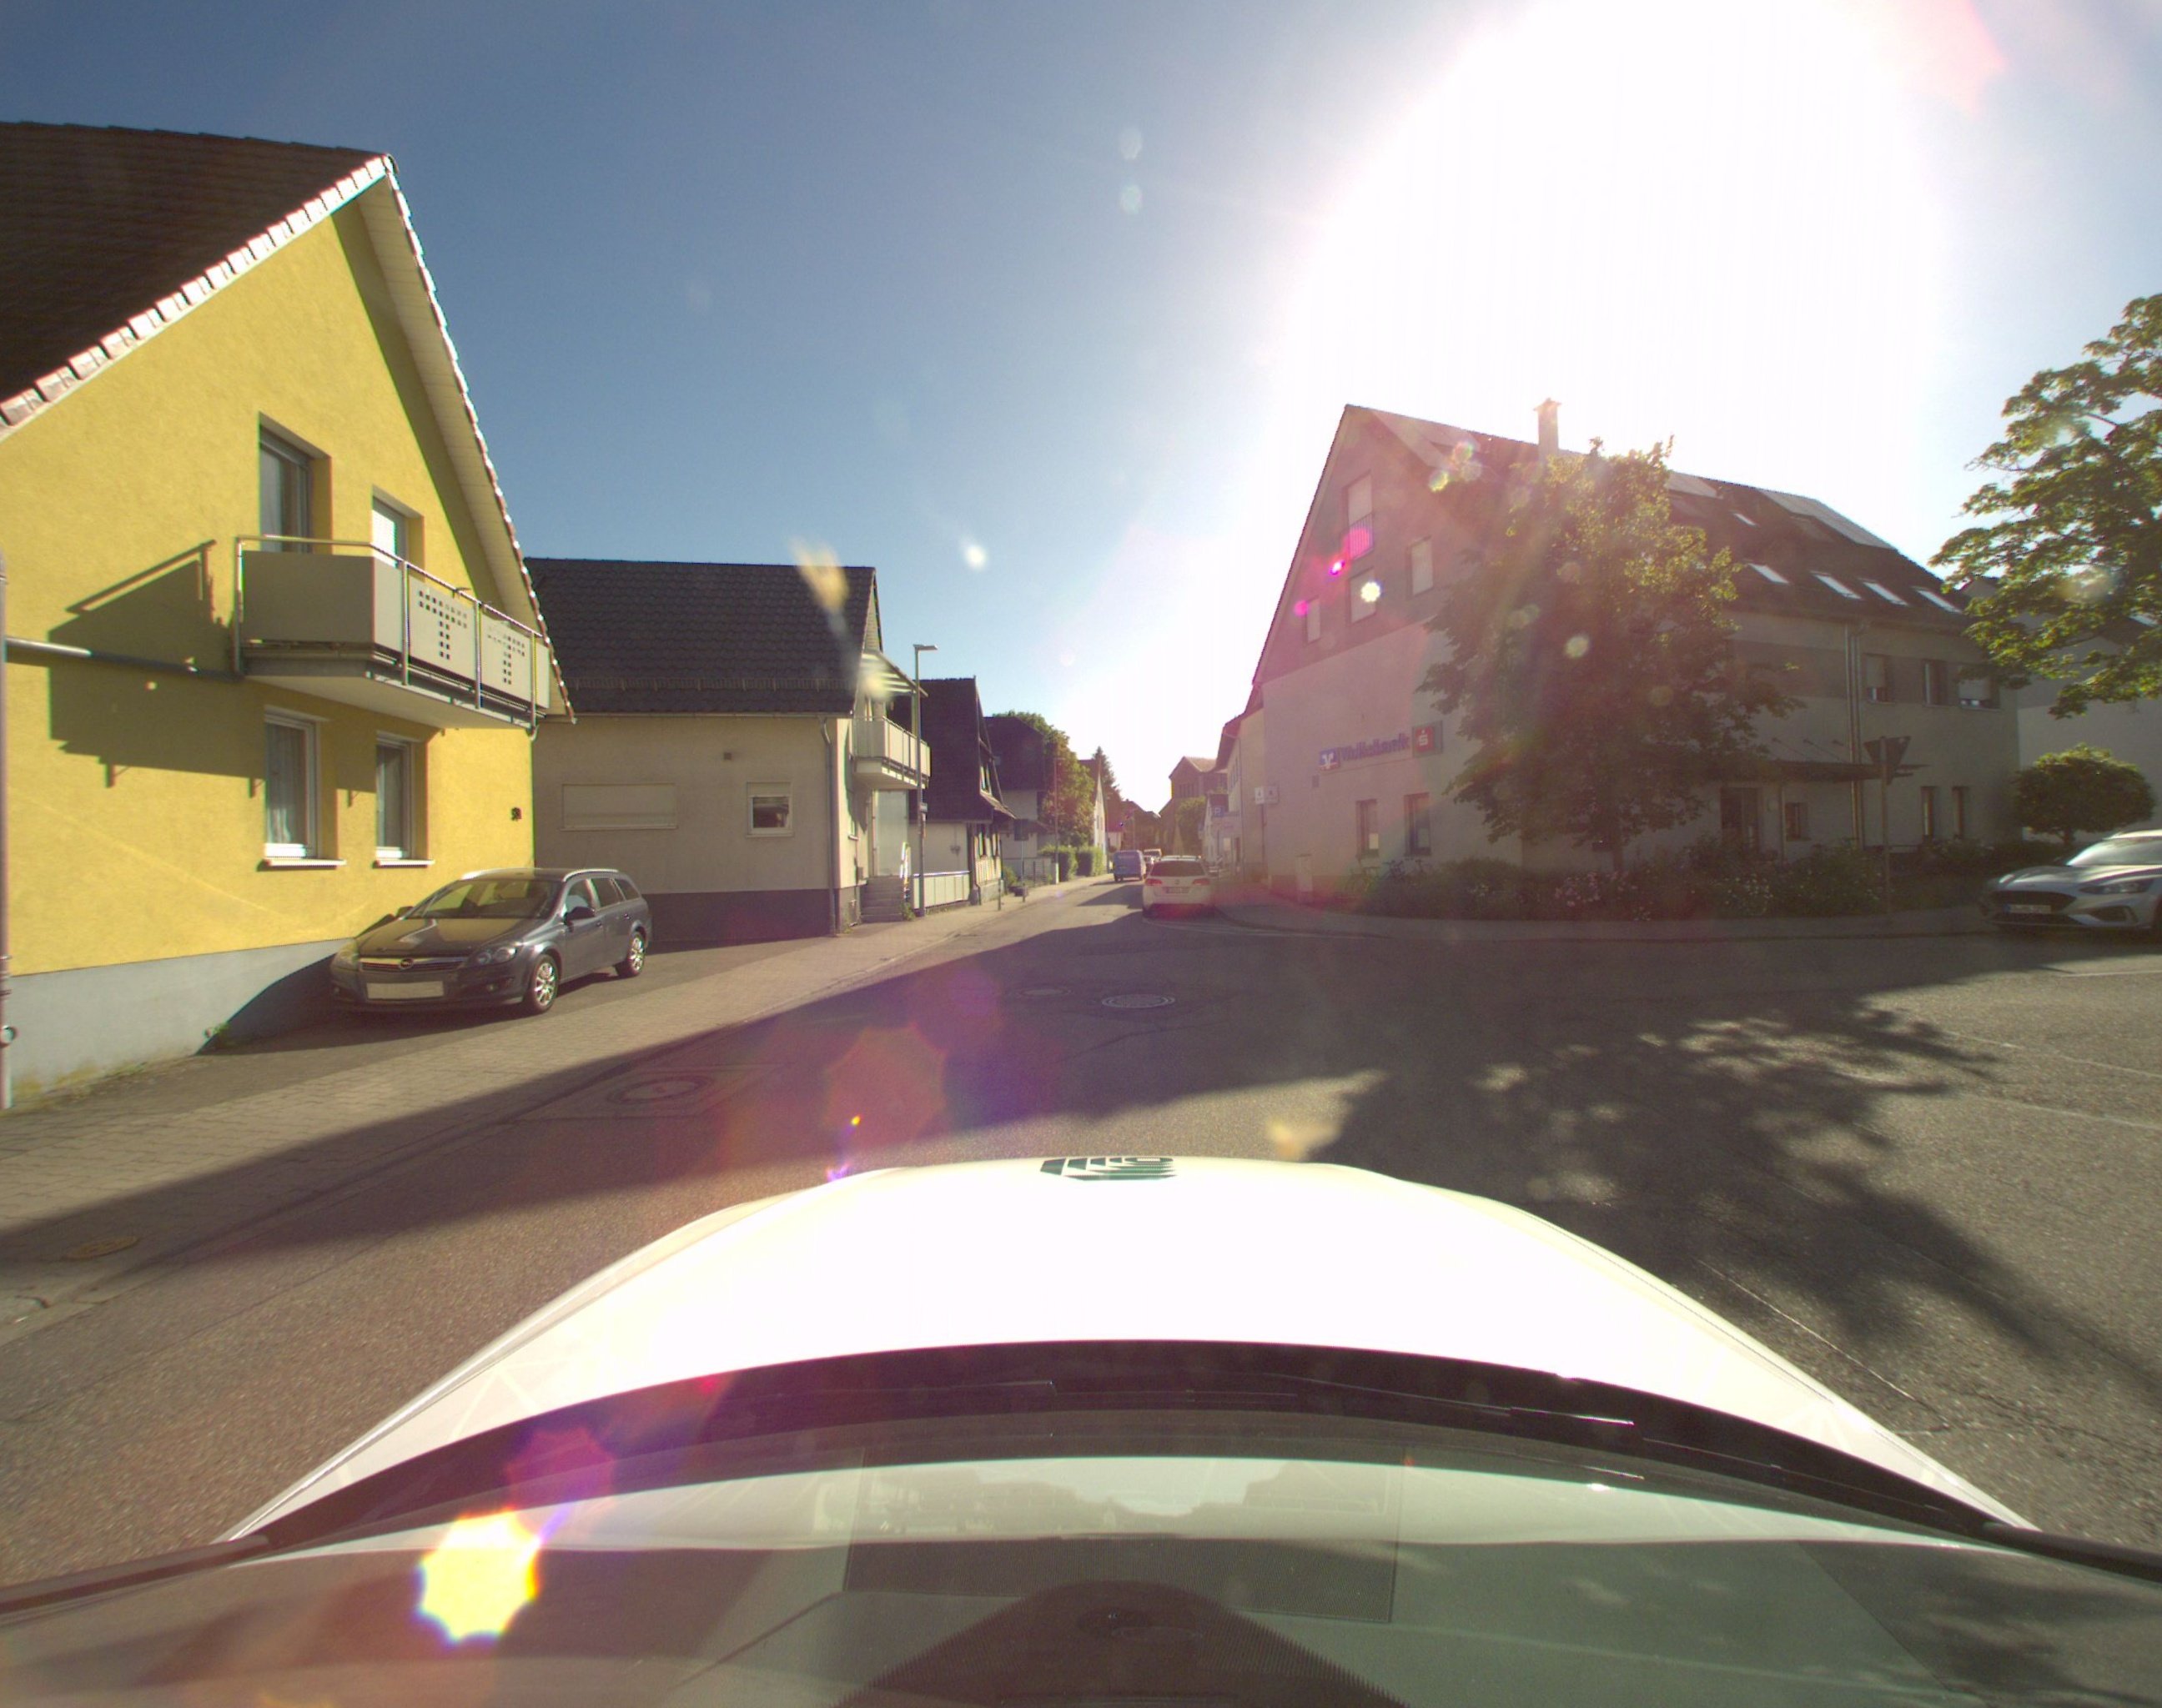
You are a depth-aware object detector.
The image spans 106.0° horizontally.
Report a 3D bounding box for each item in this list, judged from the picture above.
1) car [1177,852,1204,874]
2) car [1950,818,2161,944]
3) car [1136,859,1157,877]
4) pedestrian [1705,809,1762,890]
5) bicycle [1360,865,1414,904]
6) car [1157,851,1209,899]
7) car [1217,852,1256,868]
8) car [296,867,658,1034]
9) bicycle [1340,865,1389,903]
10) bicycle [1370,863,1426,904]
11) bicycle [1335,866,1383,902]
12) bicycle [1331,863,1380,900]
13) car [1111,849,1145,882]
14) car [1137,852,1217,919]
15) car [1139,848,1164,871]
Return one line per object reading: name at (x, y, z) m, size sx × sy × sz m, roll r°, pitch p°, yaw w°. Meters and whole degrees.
car at (7.926, 0.651, 59.039) m, size 1.802 × 1.475 × 4.669 m, roll -1°, pitch 0°, yaw 7°
car at (14.712, 0.258, 10.965) m, size 4.282 × 1.494 × 1.812 m, roll -2°, pitch 0°, yaw -4°
car at (6.457, 1.397, 79.952) m, size 1.705 × 1.598 × 3.934 m, roll -3°, pitch 0°, yaw 8°
pedestrian at (16.755, -0.120, 20.917) m, size 0.772 × 2.013 × 0.764 m, roll -2°, pitch -1°, yaw -10°
bicycle at (7.475, 0.743, 19.915) m, size 1.158 × 0.920 × 0.313 m, roll -2°, pitch -1°, yaw 3°
car at (3.399, 0.663, 27.570) m, size 1.602 × 1.521 × 3.977 m, roll 0°, pitch 0°, yaw 5°
car at (16.719, 0.672, 87.764) m, size 3.882 × 1.492 × 1.855 m, roll -3°, pitch -1°, yaw 17°
car at (-6.576, 0.907, 9.533) m, size 1.688 × 1.445 × 4.162 m, roll -1°, pitch 0°, yaw -10°
bicycle at (7.337, 0.776, 21.096) m, size 1.154 × 0.920 × 0.314 m, roll -2°, pitch -1°, yaw 13°
bicycle at (7.516, 0.707, 19.325) m, size 1.158 × 0.920 × 0.313 m, roll -2°, pitch -1°, yaw 3°
bicycle at (7.336, 0.797, 21.527) m, size 1.154 × 0.920 × 0.314 m, roll -2°, pitch -1°, yaw 13°
bicycle at (7.458, 0.750, 22.165) m, size 1.212 × 0.975 × 0.322 m, roll -2°, pitch -1°, yaw 19°
car at (3.064, 0.690, 52.325) m, size 1.893 × 1.917 × 5.077 m, roll -3°, pitch 0°, yaw 5°
car at (2.599, 0.749, 21.395) m, size 1.835 × 1.514 × 4.517 m, roll -2°, pitch 0°, yaw 9°
car at (7.936, 0.604, 91.320) m, size 2.184 × 2.390 × 6.079 m, roll -4°, pitch 0°, yaw 8°
